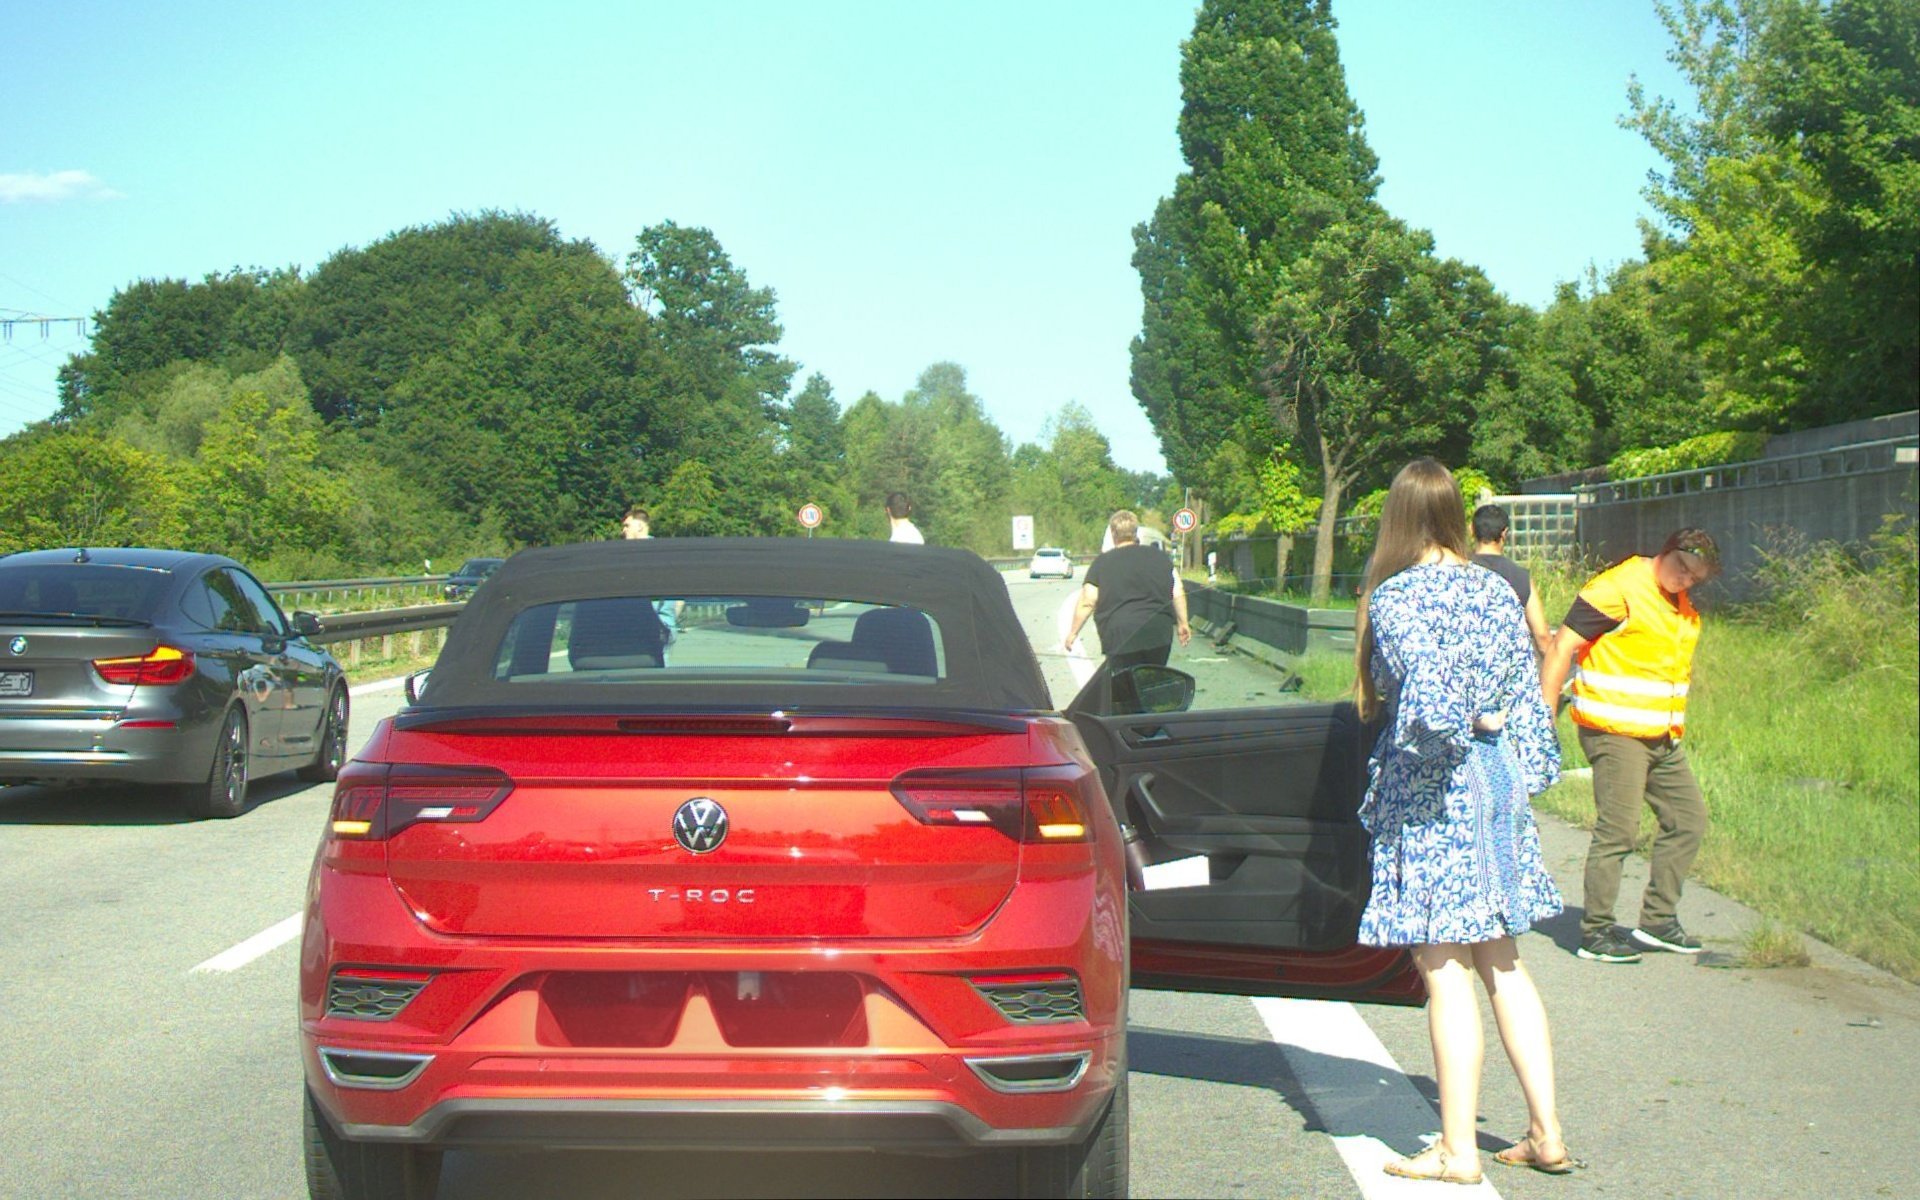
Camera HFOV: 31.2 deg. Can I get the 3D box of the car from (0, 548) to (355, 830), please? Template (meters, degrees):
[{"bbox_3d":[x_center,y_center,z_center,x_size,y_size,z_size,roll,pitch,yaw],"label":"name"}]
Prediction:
[{"bbox_3d":[-4.747,0.426,19.911,1.694,1.421,4.334,1,1,0],"label":"car"}]

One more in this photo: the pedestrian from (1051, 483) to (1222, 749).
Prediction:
[{"bbox_3d":[1.269,0.104,24.966,1.089,1.876,1.069,-1,1,-5],"label":"pedestrian"}]

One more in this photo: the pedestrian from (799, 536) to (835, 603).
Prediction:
[{"bbox_3d":[-3.610,-0.765,86.949,0.792,1.683,0.792,1,0,6],"label":"pedestrian"}]

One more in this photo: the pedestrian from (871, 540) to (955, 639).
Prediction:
[{"bbox_3d":[-0.821,-0.180,59.411,1.113,1.683,0.973,1,0,-27],"label":"pedestrian"}]

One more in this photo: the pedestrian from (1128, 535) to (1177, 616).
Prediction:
[{"bbox_3d":[4.075,-0.513,72.747,0.996,1.683,1.010,1,0,4],"label":"pedestrian"}]

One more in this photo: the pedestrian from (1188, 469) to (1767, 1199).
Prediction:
[{"bbox_3d":[1.202,0.550,8.174,0.889,1.689,1.129,-1,1,-22],"label":"pedestrian"}]

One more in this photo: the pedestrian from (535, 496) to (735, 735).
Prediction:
[{"bbox_3d":[-2.488,0.108,26.398,1.105,1.782,1.090,1,0,26],"label":"pedestrian"}]

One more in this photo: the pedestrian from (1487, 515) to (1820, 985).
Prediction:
[{"bbox_3d":[2.552,0.519,12.797,0.957,1.648,1.278,-1,1,0],"label":"pedestrian"}]

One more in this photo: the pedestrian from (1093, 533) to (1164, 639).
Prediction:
[{"bbox_3d":[2.734,-0.225,55.725,1.056,1.683,1.017,1,0,7],"label":"pedestrian"}]

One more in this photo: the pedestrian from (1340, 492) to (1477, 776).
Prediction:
[{"bbox_3d":[2.835,0.207,21.775,0.812,1.753,0.828,1,0,7],"label":"pedestrian"}]

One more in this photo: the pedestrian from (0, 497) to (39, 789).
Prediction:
[{"bbox_3d":[-6.297,0.265,20.857,1.041,1.757,1.118,-1,1,3],"label":"pedestrian"}]

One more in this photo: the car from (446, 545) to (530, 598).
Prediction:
[{"bbox_3d":[-13.198,-0.810,96.317,1.712,1.420,4.407,1,1,0],"label":"car"}]

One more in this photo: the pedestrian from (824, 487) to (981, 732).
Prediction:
[{"bbox_3d":[-0.474,0.065,27.592,1.105,1.906,1.257,-1,1,-7],"label":"pedestrian"}]

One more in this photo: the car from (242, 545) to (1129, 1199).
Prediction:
[{"bbox_3d":[-0.533,0.612,8.870,1.732,1.482,4.210,1,1,0],"label":"car"}]

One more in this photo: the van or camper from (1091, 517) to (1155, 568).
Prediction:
[{"bbox_3d":[7.649,-2.679,161.059,1.995,2.308,4.467,1,1,16],"label":"van or camper"}]

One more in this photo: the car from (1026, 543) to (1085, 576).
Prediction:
[{"bbox_3d":[4.536,-1.920,162.162,1.734,1.482,4.207,1,1,17],"label":"car"}]

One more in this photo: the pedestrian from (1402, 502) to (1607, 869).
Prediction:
[{"bbox_3d":[2.647,0.396,16.659,0.895,1.719,0.754,1,0,14],"label":"pedestrian"}]
